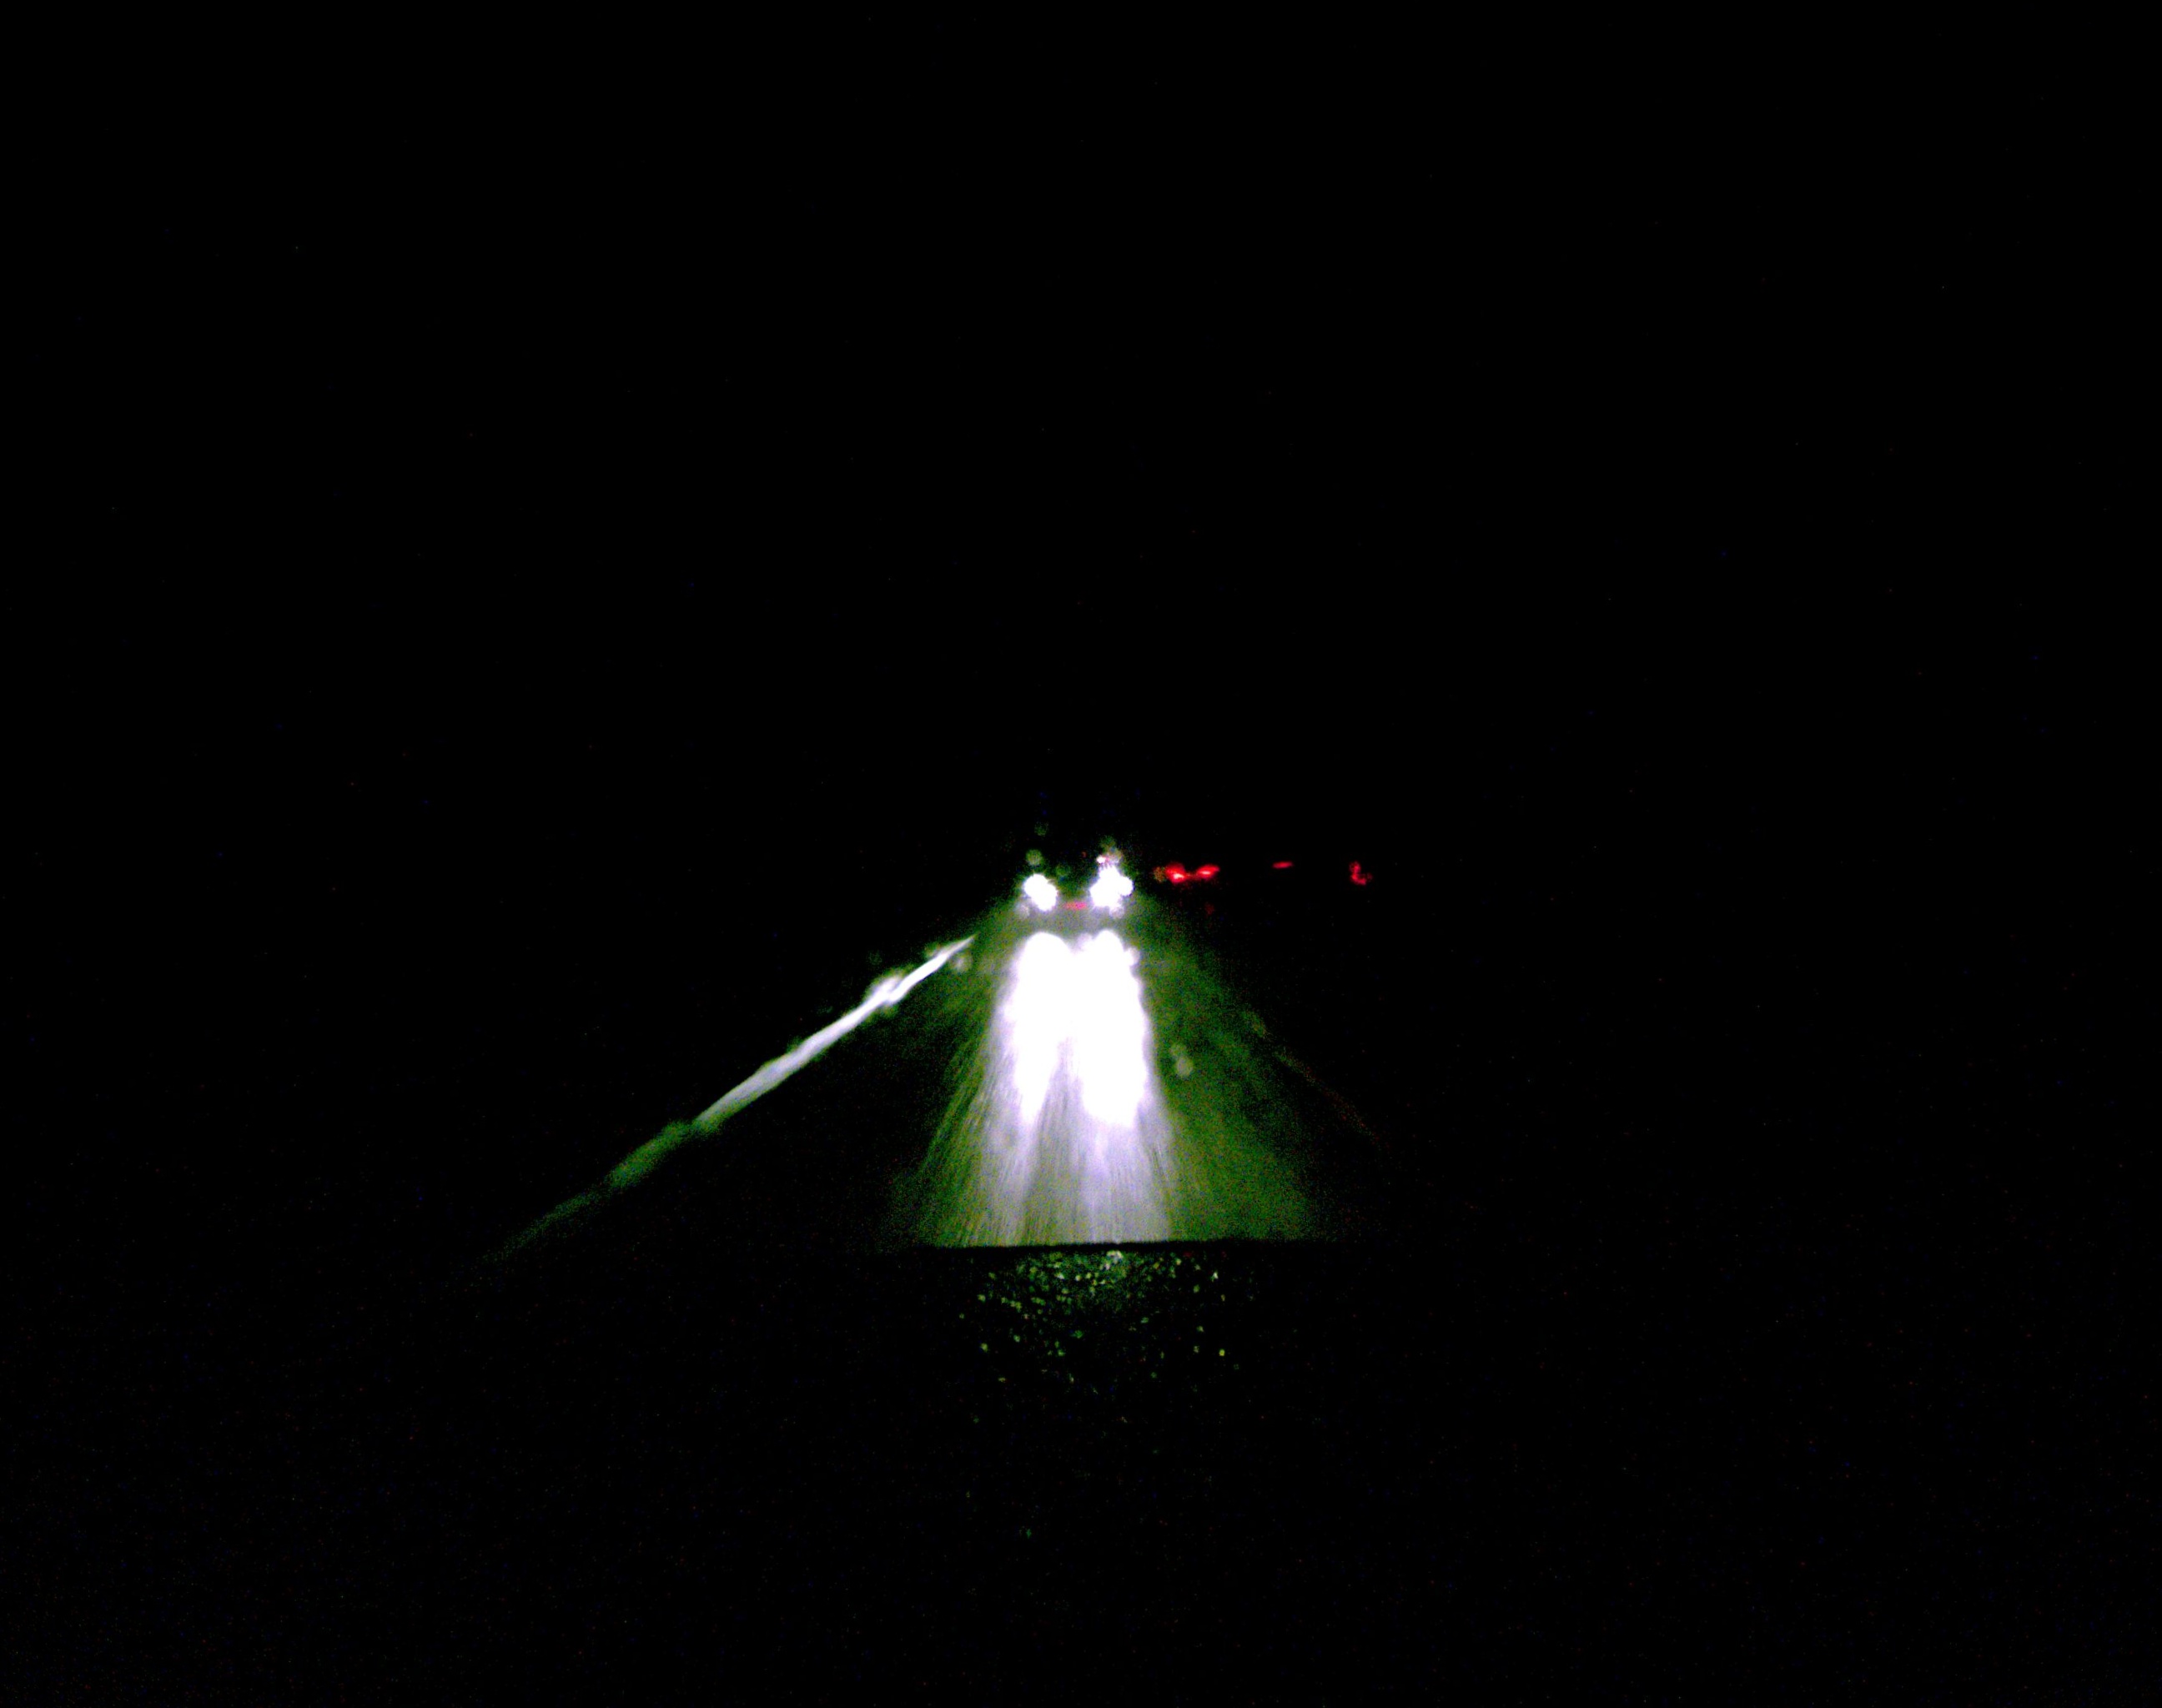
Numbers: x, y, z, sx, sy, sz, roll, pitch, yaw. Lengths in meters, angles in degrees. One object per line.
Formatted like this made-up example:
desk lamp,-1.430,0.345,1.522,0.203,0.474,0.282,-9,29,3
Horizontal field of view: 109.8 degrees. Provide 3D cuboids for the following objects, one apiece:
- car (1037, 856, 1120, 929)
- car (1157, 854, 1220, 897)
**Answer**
car,0.056,0.910,19.956,1.862,1.601,4.420,-3,0,3
car,4.273,0.857,30.809,1.867,1.535,4.230,-2,-1,0
